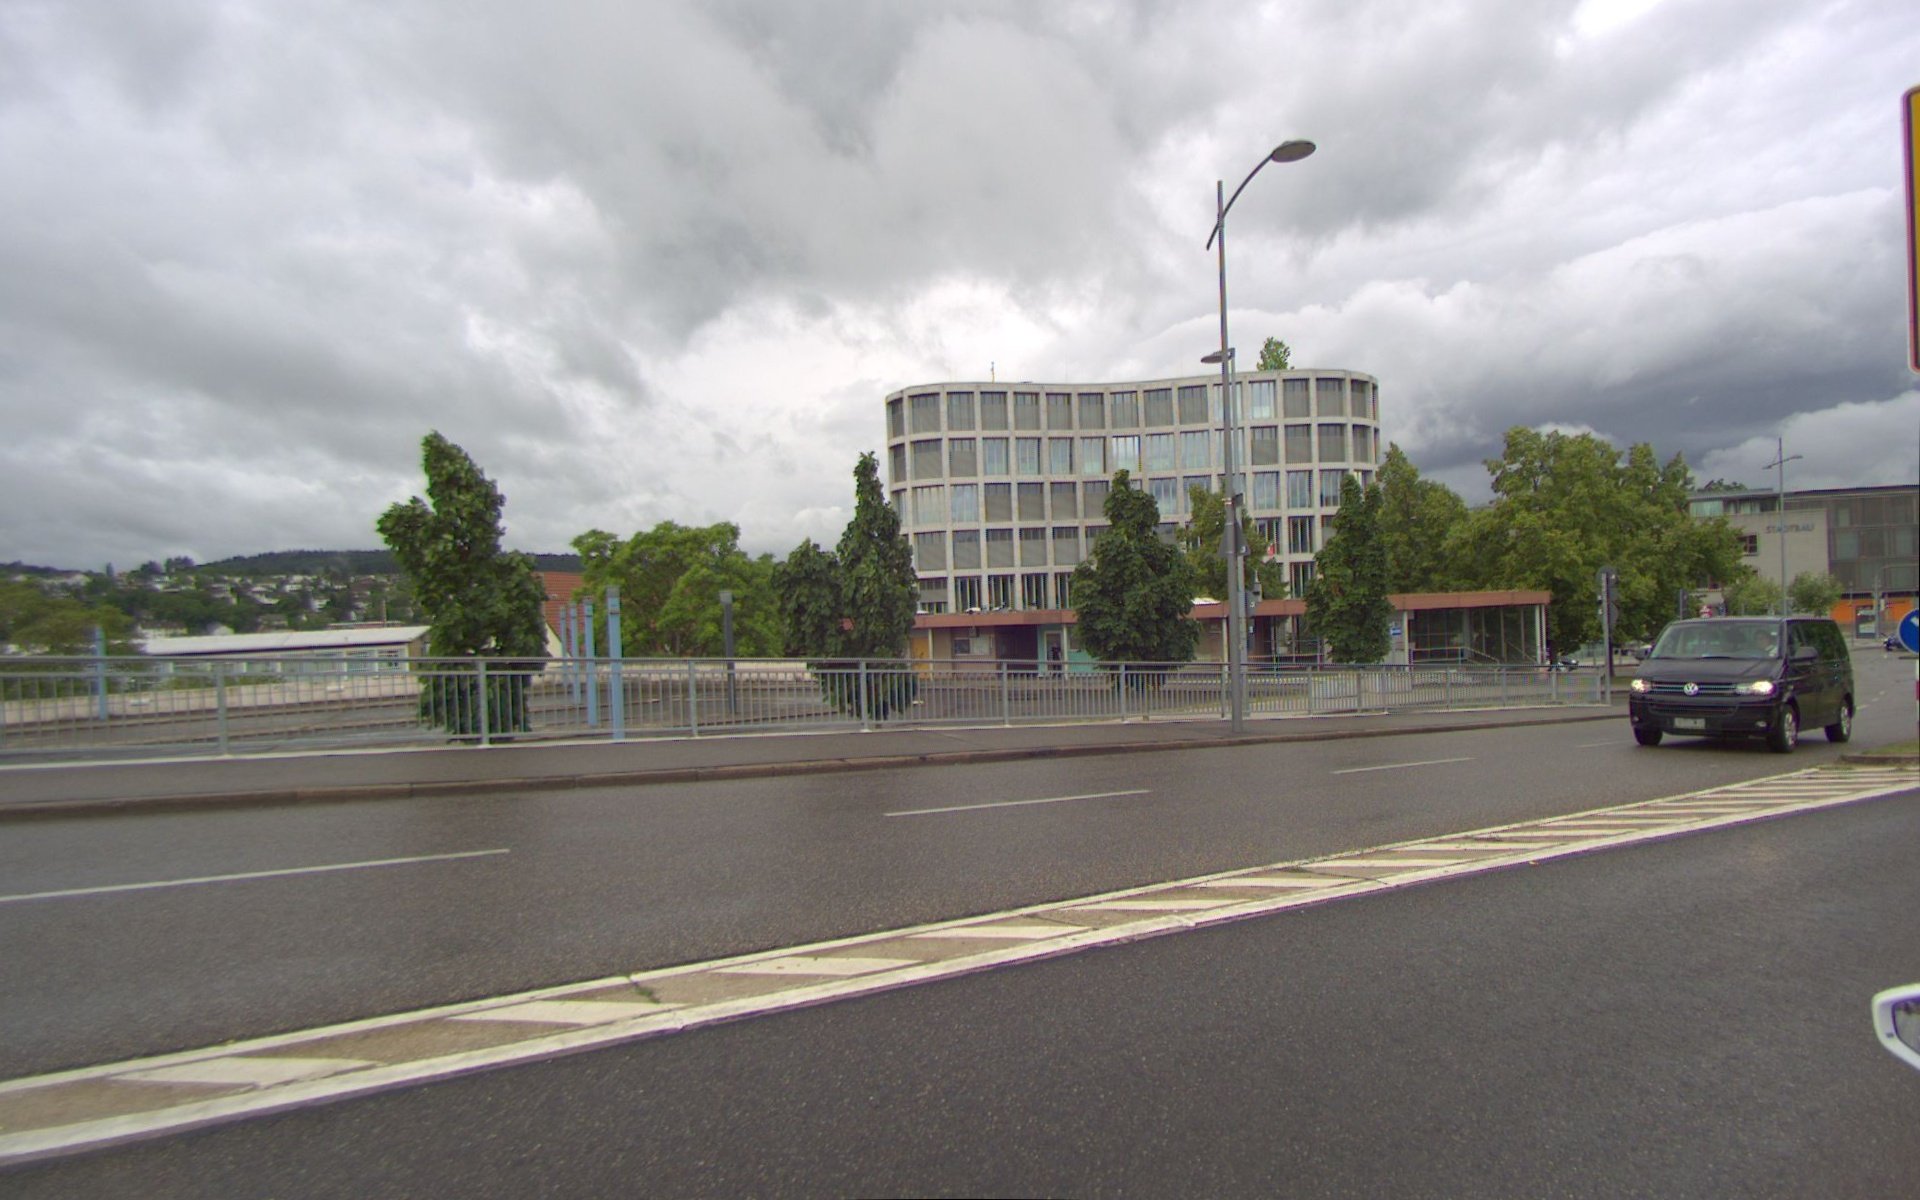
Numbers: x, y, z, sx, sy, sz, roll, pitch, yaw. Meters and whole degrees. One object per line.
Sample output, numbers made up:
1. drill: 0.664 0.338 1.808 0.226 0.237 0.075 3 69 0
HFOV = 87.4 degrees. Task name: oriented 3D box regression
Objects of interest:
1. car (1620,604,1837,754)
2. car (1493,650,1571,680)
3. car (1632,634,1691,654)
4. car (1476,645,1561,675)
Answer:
1. car: 12.026 1.154 15.594 4.650 1.993 1.829 3 -3 -42
2. car: 34.811 3.953 61.220 3.761 1.588 1.729 -3 -2 13
3. car: 60.719 3.829 86.960 3.712 1.515 1.767 -3 -2 9
4. car: 32.715 3.490 58.940 3.974 1.528 1.729 -3 -2 12
